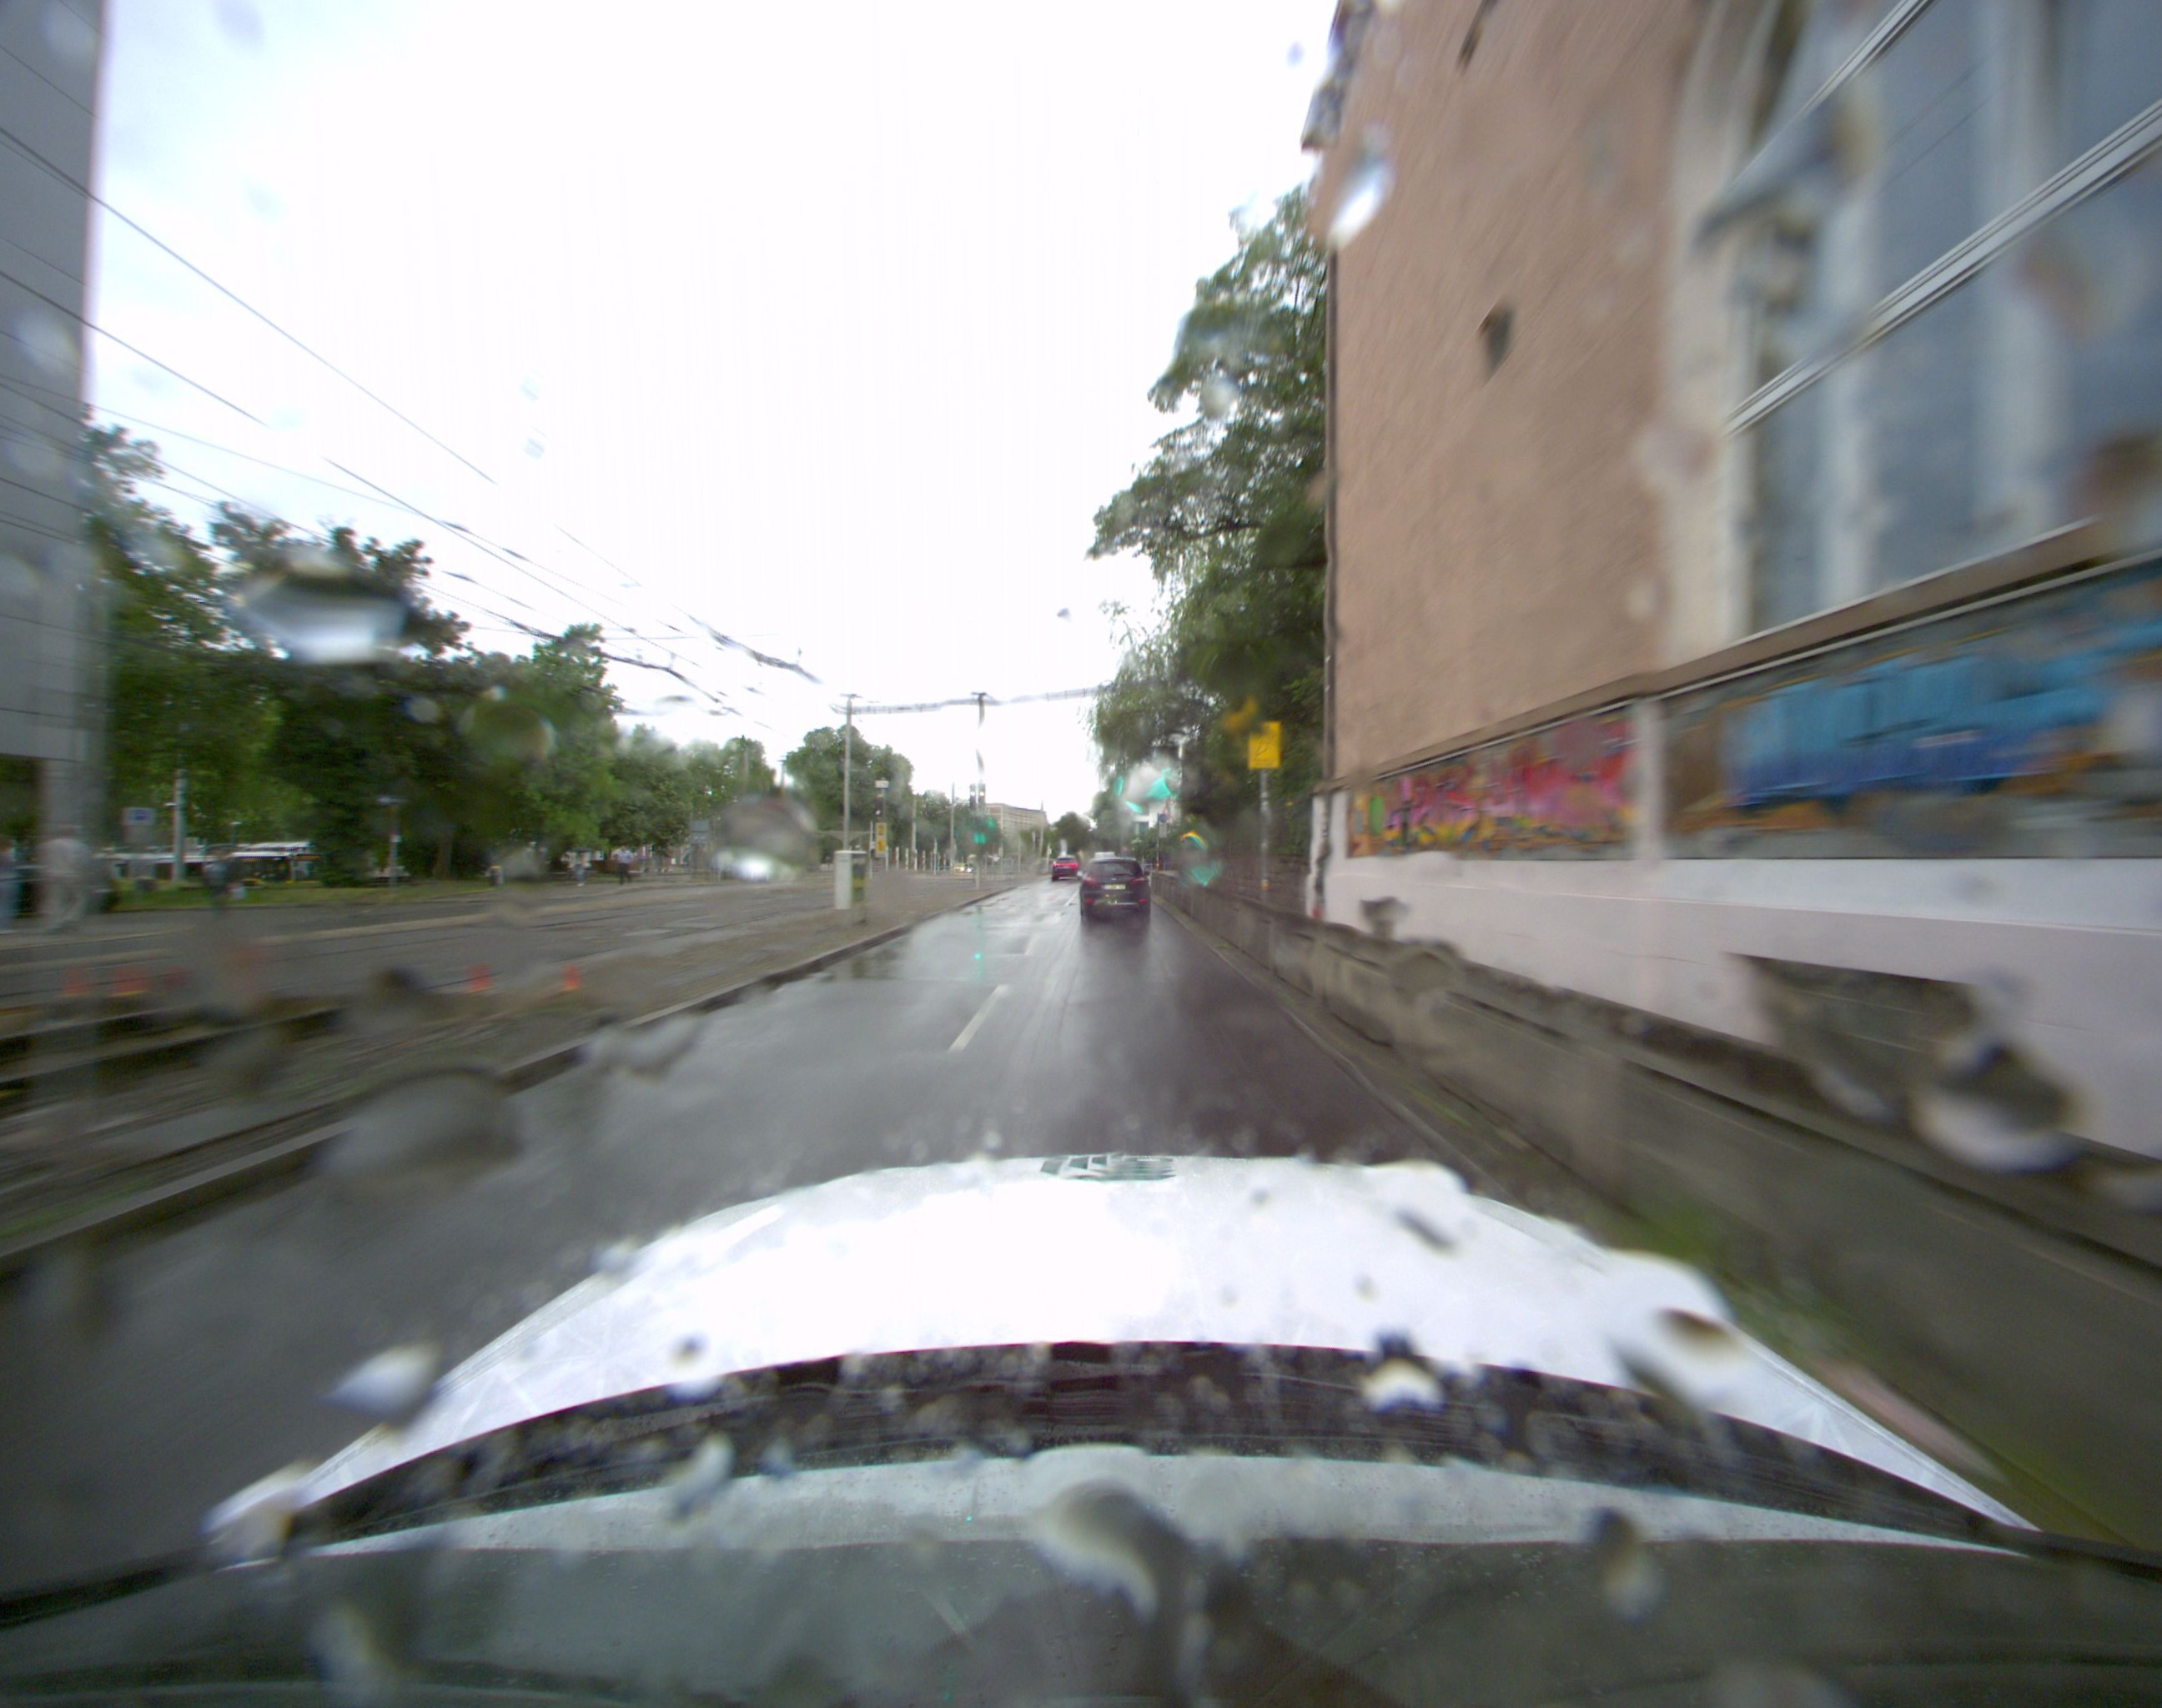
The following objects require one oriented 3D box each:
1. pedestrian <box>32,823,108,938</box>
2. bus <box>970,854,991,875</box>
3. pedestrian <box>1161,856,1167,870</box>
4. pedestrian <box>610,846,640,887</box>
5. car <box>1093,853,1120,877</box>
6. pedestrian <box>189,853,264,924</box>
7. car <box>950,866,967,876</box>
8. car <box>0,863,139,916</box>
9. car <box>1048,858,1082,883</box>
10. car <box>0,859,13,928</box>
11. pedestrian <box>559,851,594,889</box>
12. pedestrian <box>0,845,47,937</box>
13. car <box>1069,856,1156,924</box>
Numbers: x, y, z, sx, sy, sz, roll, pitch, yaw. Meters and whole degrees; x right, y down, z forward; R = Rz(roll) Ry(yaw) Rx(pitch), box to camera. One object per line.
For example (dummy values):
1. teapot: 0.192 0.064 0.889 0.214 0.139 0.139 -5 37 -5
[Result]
1. pedestrian: -18.219 0.465 14.693 0.666 2.014 0.610 3 -1 -37
2. bus: -17.132 1.761 139.633 3.072 3.301 12.500 -1 -1 -5
3. pedestrian: 9.830 1.056 96.573 0.537 1.563 0.524 -1 -1 22
4. pedestrian: -21.421 0.581 38.263 0.990 1.863 0.919 1 -1 41
5. car: 2.057 0.843 64.247 2.027 1.840 4.396 0 0 3
6. pedestrian: -19.733 0.792 18.822 0.965 1.594 0.586 2 -1 -14
7. car: -20.314 2.774 135.146 1.986 1.646 4.539 -1 -1 2
8. car: -30.066 1.008 23.390 3.542 1.448 1.690 -1 0 -21
9. car: -1.041 1.030 52.772 2.093 1.506 4.728 -1 -1 -2
10. car: -25.875 0.910 17.133 3.745 1.551 1.690 -1 0 -23
11. pedestrian: -21.860 0.678 35.291 0.911 1.594 0.999 2 -1 -11
12. pedestrian: -18.975 0.644 14.405 0.582 1.594 0.639 2 -1 18
13. car: 0.806 0.850 21.272 2.028 1.584 4.393 0 0 2
